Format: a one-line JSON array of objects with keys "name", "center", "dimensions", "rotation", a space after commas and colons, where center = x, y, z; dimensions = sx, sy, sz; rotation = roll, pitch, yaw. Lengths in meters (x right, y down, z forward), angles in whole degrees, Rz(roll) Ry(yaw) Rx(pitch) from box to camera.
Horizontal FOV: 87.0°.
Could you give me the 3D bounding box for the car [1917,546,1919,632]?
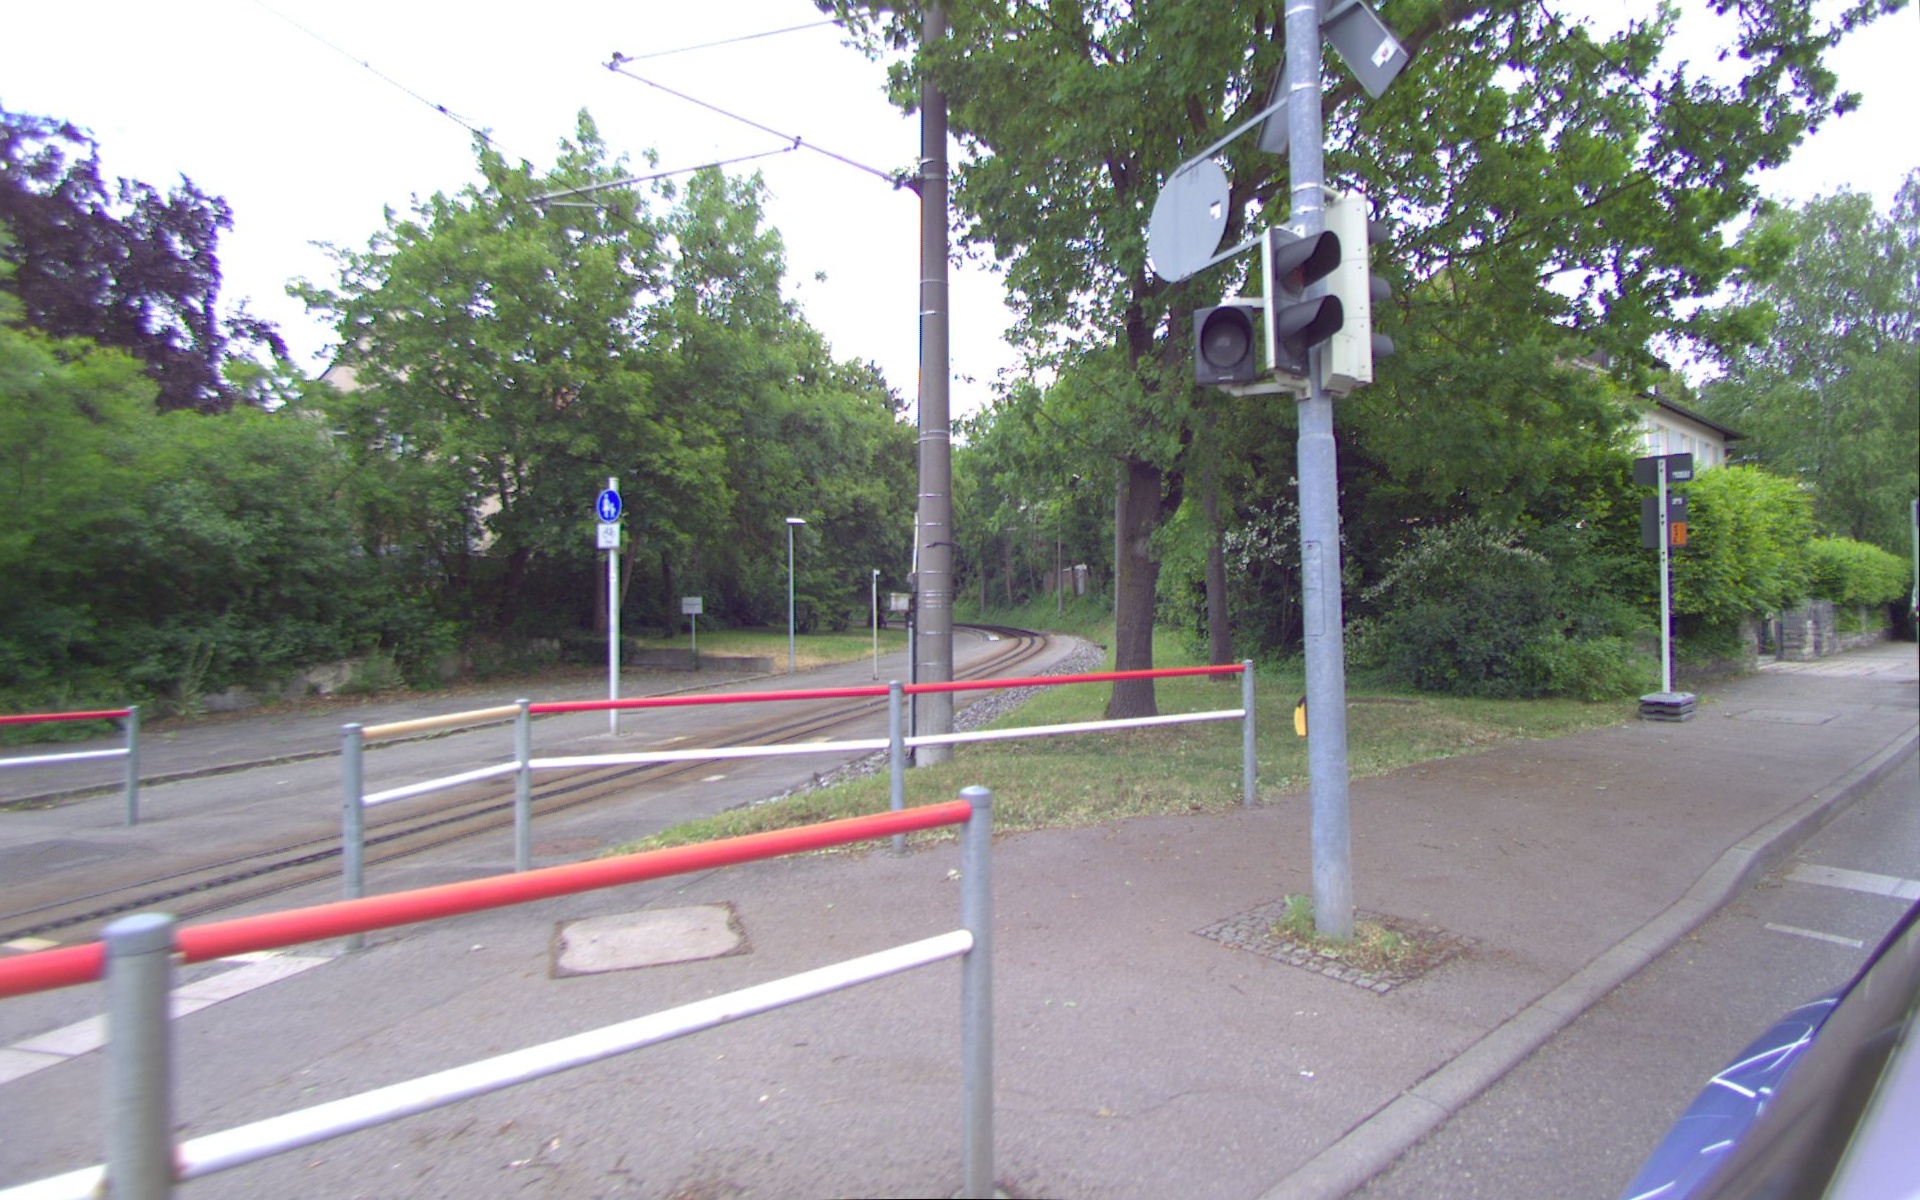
[{"name": "car", "center": [32.710, -0.396, 32.753], "dimensions": [6.570, 2.637, 2.091], "rotation": [-1, 0, -43]}]
